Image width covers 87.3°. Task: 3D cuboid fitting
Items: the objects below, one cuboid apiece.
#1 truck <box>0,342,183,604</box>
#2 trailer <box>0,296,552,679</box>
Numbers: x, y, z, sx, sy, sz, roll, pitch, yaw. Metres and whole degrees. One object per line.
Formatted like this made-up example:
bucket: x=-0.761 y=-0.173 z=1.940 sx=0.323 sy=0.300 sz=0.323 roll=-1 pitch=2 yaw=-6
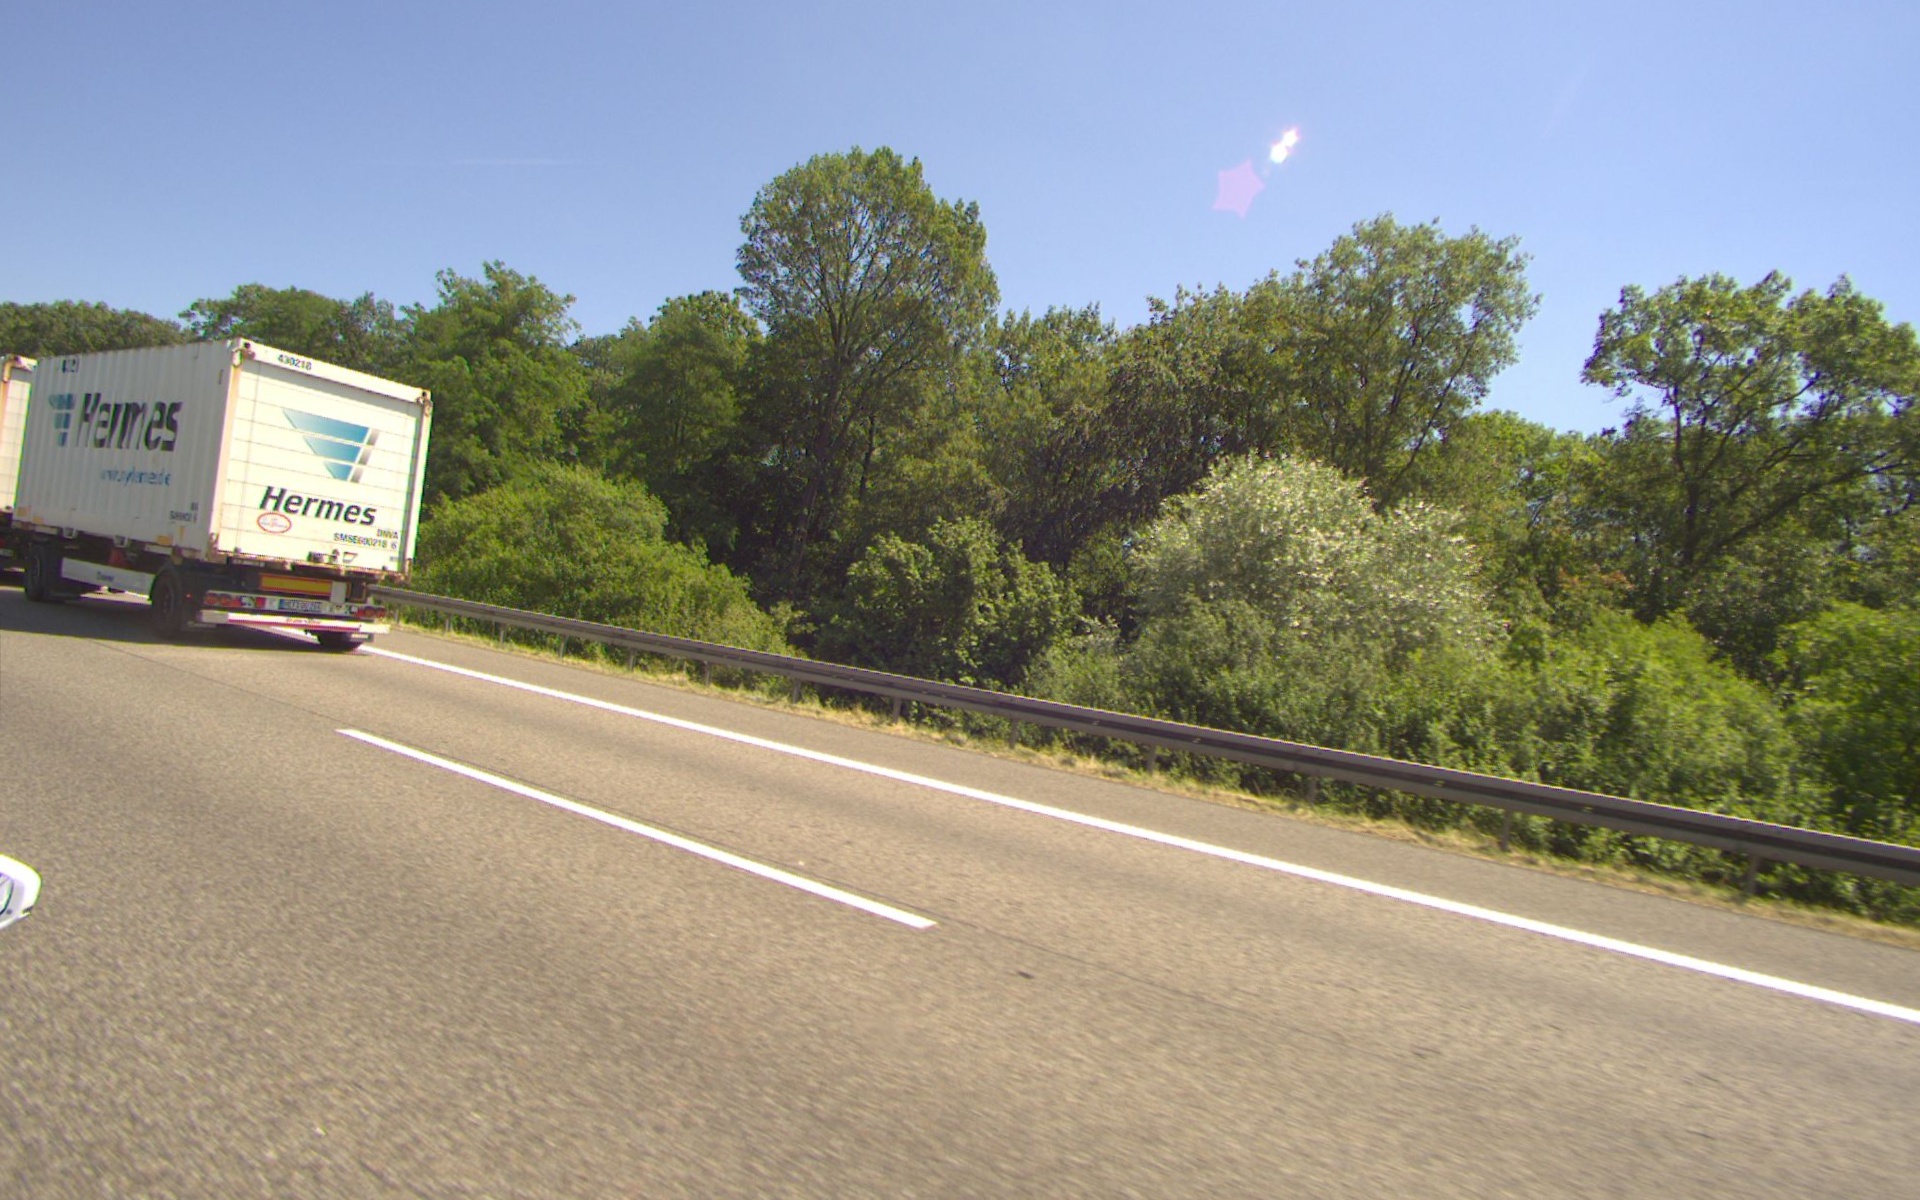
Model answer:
truck: x=-20.014 y=-2.607 z=20.717 sx=10.493 sy=4.178 sz=2.531 roll=6 pitch=-1 yaw=32
trailer: x=-10.892 y=-1.637 z=14.953 sx=11.077 sy=4.107 sz=2.559 roll=6 pitch=-2 yaw=32
